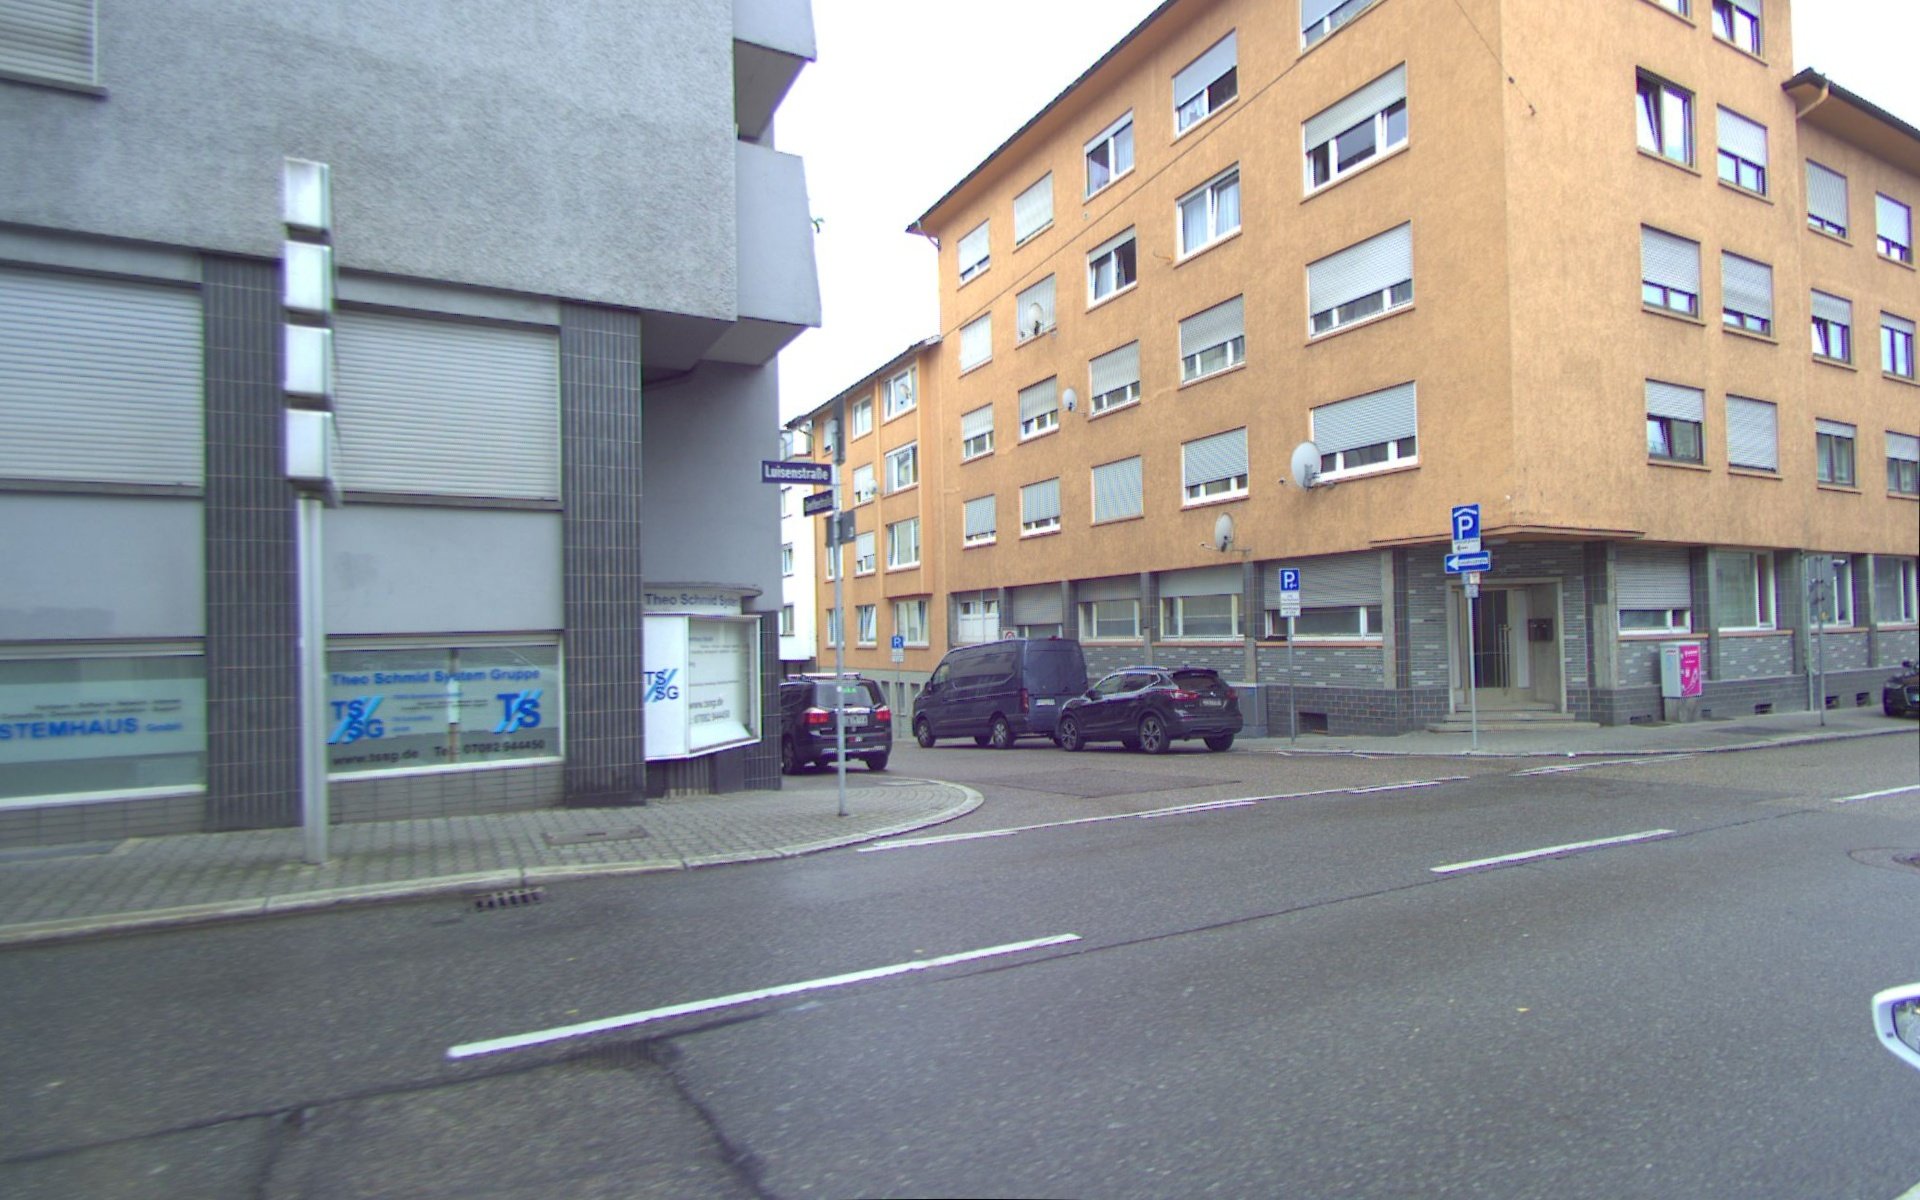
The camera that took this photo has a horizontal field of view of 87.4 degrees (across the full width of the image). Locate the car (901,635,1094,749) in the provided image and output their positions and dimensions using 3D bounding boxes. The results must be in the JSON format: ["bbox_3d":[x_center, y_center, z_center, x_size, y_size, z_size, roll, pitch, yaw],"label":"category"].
[{"bbox_3d":[0.748,2.304,24.715,1.962,2.490,5.313,1,-6,-34],"label":"car"}]

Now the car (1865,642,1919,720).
[{"bbox_3d":[20.840,1.639,20.809,4.496,1.478,1.882,0,-1,-31],"label":"car"}]

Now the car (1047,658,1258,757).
[{"bbox_3d":[3.613,2.090,19.558,1.906,1.673,3.974,0,-6,-28],"label":"car"}]

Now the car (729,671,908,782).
[{"bbox_3d":[-2.720,2.290,18.486,1.907,1.739,3.972,1,-6,-30],"label":"car"}]
